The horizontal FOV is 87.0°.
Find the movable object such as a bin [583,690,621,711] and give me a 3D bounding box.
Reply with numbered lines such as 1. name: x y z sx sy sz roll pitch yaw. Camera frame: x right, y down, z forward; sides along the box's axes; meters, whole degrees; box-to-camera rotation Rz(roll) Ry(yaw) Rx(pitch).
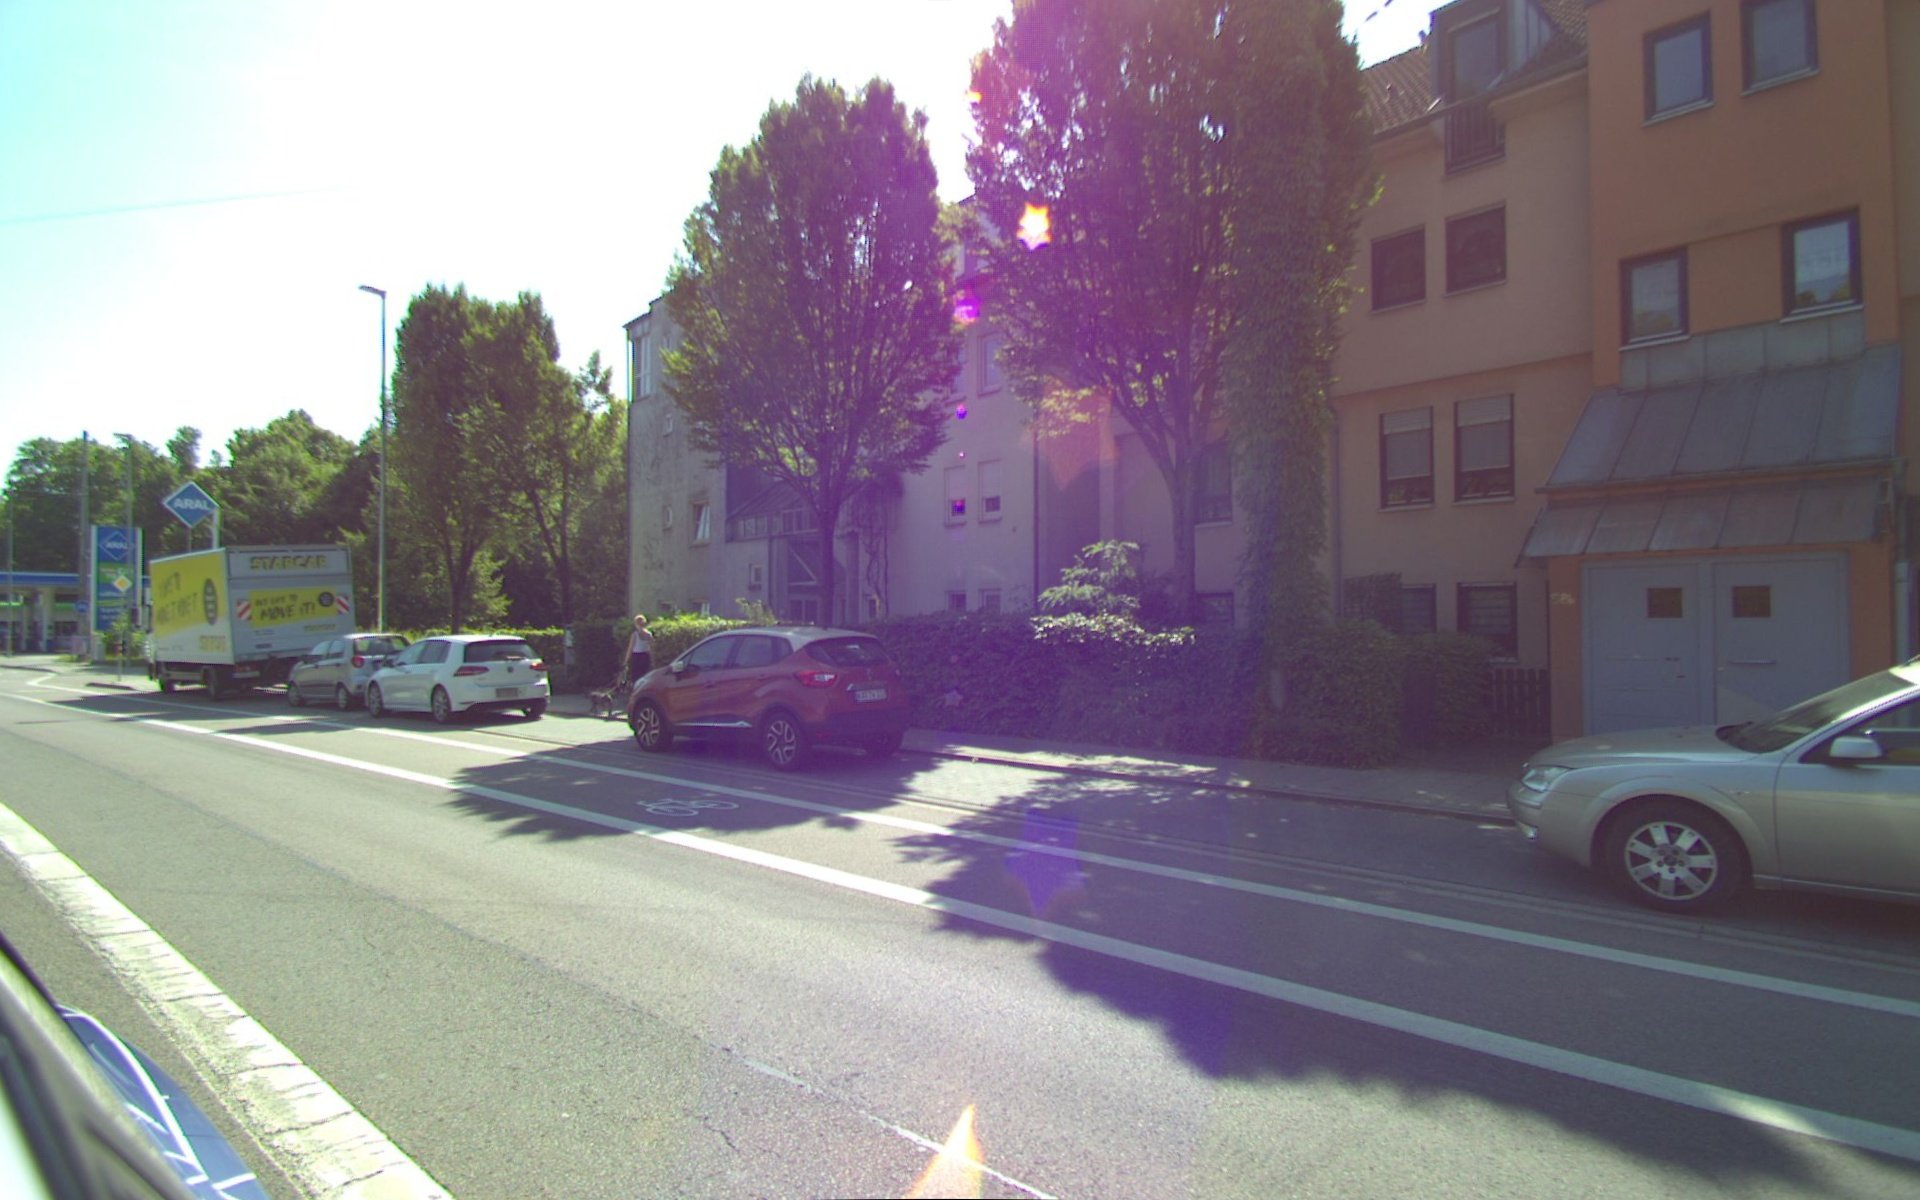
1. movable object such as a bin: -6.570 1.843 18.577 0.755 0.342 0.323 -2 -2 39

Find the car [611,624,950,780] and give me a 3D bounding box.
1. car: -2.329 1.117 12.424 4.314 1.563 1.713 -2 -1 40

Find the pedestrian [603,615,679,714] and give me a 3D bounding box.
1. pedestrian: -5.713 1.141 18.153 1.054 1.703 0.866 -2 -2 39

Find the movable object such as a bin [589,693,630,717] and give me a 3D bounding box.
1. movable object such as a bin: -6.046 1.813 17.467 0.755 0.357 0.323 -2 -2 39

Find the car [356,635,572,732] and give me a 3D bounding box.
1. car: -8.733 1.373 17.685 4.276 1.440 1.740 -2 -1 39

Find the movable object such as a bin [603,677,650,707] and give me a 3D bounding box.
1. movable object such as a bin: -6.324 1.738 19.180 1.074 0.520 0.323 -2 -2 39

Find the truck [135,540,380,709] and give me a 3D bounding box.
1. truck: -17.588 0.611 25.048 8.580 3.557 2.641 -2 -1 39

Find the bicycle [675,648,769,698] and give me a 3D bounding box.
1. bicycle: -5.170 1.572 22.078 1.988 1.018 0.550 1 -2 -43

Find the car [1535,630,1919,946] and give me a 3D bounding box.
1. car: 5.878 0.939 5.193 4.853 1.495 1.763 -1 0 40

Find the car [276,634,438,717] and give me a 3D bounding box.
1. car: -12.390 1.490 20.732 3.629 1.495 1.595 -2 0 37
